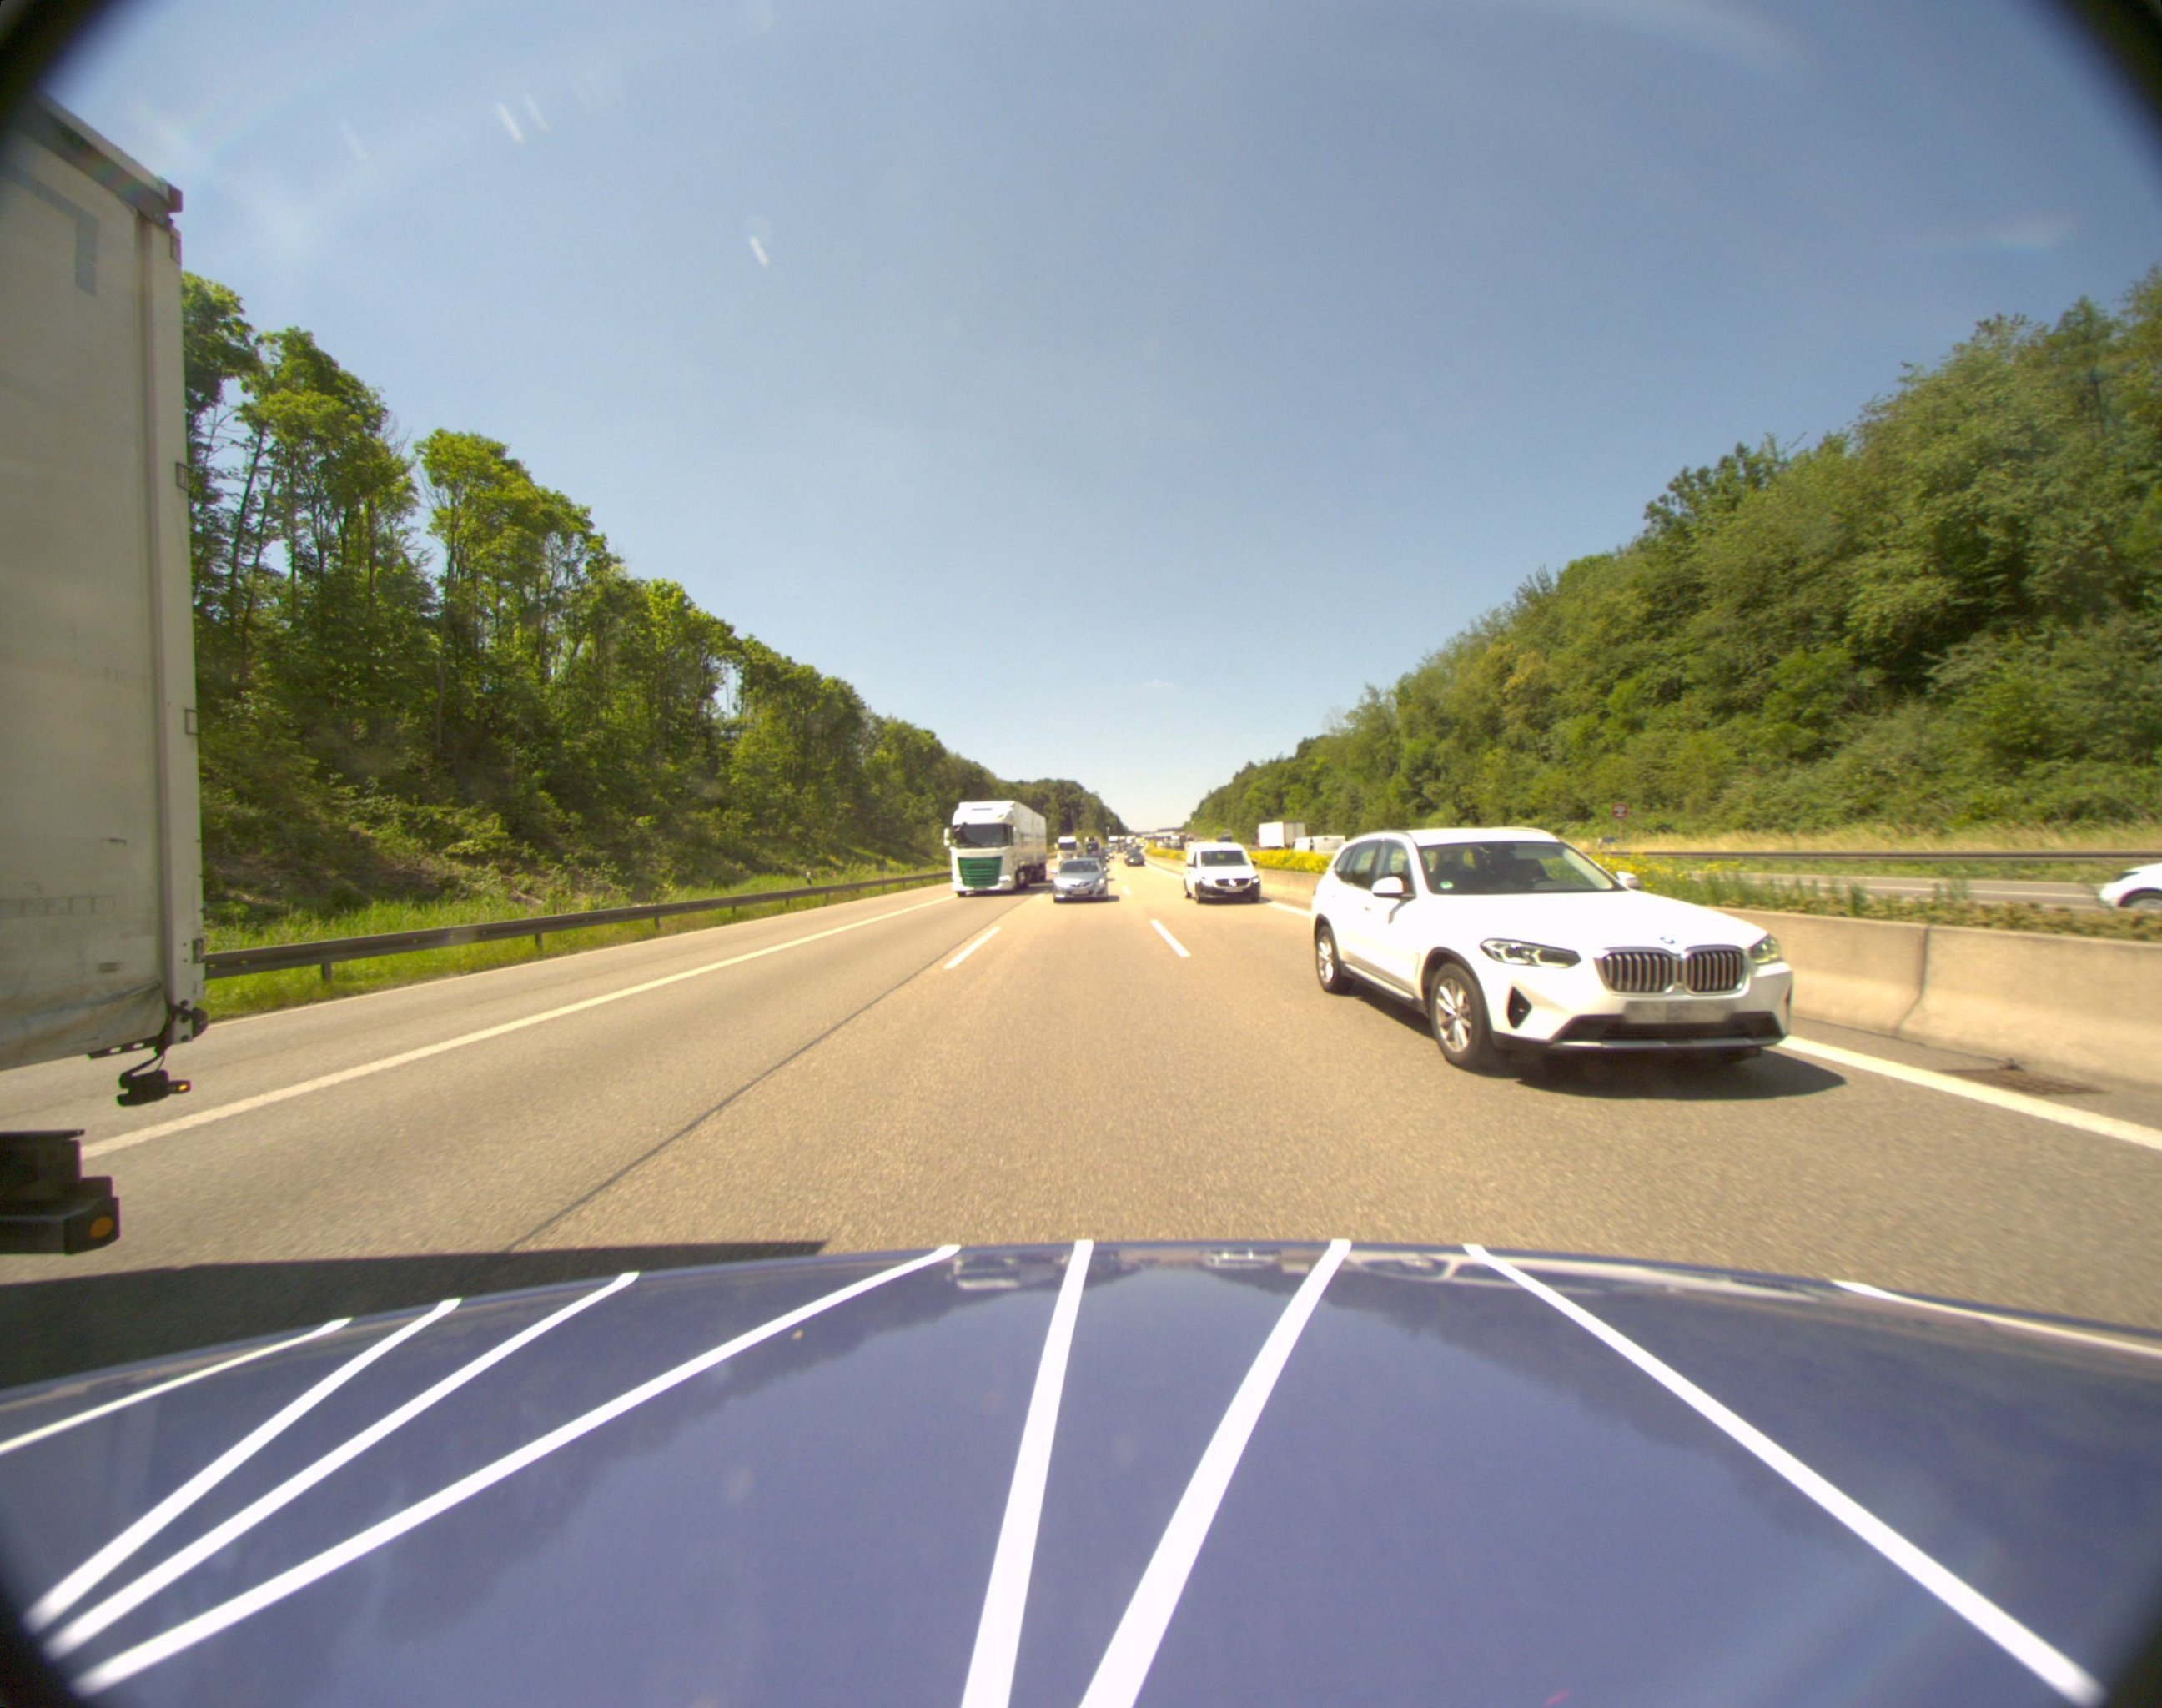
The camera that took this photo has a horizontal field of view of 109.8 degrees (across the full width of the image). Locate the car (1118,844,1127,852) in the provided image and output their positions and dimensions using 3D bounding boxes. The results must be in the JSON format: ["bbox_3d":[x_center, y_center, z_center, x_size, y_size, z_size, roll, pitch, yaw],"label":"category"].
[{"bbox_3d":[10.188,-1.488,185.440,1.998,1.728,3.999,-2,1,1],"label":"car"}]

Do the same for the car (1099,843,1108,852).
[{"bbox_3d":[5.376,-1.510,182.662,1.964,2.002,4.000,-2,0,0],"label":"car"}]

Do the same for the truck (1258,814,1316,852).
[{"bbox_3d":[25.013,-2.474,93.148,3.718,4.171,13.792,-2,1,2],"label":"truck"}]

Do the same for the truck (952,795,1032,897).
[{"bbox_3d":[-3.787,-0.357,33.817,2.542,4.006,6.624,-2,1,1],"label":"truck"}]

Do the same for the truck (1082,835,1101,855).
[{"bbox_3d":[2.044,-1.756,145.935,3.558,3.695,7.550,-2,1,1],"label":"truck"}]

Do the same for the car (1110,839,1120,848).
[{"bbox_3d":[10.569,-3.318,234.945,2.697,2.467,6.584,-2,1,3],"label":"car"}]

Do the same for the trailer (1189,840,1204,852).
[{"bbox_3d":[20.012,-1.471,132.197,1.998,2.002,4.000,-2,1,1],"label":"trailer"}]

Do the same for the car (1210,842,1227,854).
[{"bbox_3d":[17.513,-0.758,96.951,1.602,1.375,3.359,-2,1,1],"label":"car"}]

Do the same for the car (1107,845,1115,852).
[{"bbox_3d":[7.917,-1.430,202.608,1.998,1.728,4.000,-2,1,3],"label":"car"}]

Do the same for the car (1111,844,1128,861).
[{"bbox_3d":[4.734,-0.188,92.922,1.998,2.002,4.000,-2,1,3],"label":"car"}]

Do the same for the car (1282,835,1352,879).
[{"bbox_3d":[11.640,0.105,37.776,1.998,2.002,4.899,-2,1,1],"label":"car"}]

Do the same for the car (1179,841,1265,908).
[{"bbox_3d":[4.239,0.566,23.530,1.769,1.802,4.674,-2,0,0],"label":"car"}]

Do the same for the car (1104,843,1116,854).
[{"bbox_3d":[5.063,-0.937,131.827,1.998,1.728,3.999,-2,1,1],"label":"car"}]

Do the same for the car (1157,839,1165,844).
[{"bbox_3d":[24.725,-3.841,234.319,2.158,1.676,4.147,-2,1,1],"label":"car"}]

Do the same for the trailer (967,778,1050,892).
[{"bbox_3d":[-3.584,-0.956,41.786,2.574,5.011,15.270,-2,1,1],"label":"trailer"}]

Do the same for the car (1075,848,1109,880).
[{"bbox_3d":[0.709,0.572,45.040,1.887,1.695,4.085,-2,0,2],"label":"car"}]

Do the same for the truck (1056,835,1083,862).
[{"bbox_3d":[-1.387,-0.727,98.612,3.263,3.337,6.862,-2,1,0],"label":"truck"}]

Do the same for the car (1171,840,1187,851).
[{"bbox_3d":[15.371,-1.336,119.365,1.922,1.658,3.999,-2,1,1],"label":"car"}]

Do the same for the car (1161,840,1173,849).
[{"bbox_3d":[17.277,-1.915,153.053,1.998,1.676,3.999,-2,1,1],"label":"car"}]

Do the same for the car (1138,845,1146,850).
[{"bbox_3d":[15.597,-1.657,194.917,1.998,1.426,4.000,-2,0,2],"label":"car"}]

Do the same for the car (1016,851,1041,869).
[{"bbox_3d":[-4.848,0.520,70.743,1.934,1.534,3.756,-2,0,0],"label":"car"}]

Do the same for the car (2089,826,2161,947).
[{"bbox_3d":[14.297,0.388,8.228,1.675,1.499,3.828,-2,0,0],"label":"car"}]

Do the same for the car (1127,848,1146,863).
[{"bbox_3d":[5.715,0.188,78.908,1.720,1.470,4.000,-2,0,2],"label":"car"}]

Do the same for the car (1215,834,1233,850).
[{"bbox_3d":[22.459,-1.952,119.672,1.998,2.416,3.999,-2,1,1],"label":"car"}]

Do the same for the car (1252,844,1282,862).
[{"bbox_3d":[15.753,-0.097,64.611,1.618,1.472,3.508,-2,0,-1],"label":"car"}]

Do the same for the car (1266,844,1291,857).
[{"bbox_3d":[21.085,-0.359,81.226,1.618,1.381,3.508,-2,0,-1],"label":"car"}]

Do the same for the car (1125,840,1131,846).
[{"bbox_3d":[14.497,-3.368,234.155,1.998,1.728,4.000,-2,1,3],"label":"car"}]

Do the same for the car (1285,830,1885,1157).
[{"bbox_3d":[3.353,0.750,6.534,1.869,1.684,4.956,-2,0,1],"label":"car"}]

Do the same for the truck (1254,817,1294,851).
[{"bbox_3d":[25.195,-2.590,99.530,3.718,4.171,6.284,-2,1,2],"label":"truck"}]

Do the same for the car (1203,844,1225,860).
[{"bbox_3d":[12.989,-0.213,74.278,1.602,1.500,3.359,-2,1,1],"label":"car"}]

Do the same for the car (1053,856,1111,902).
[{"bbox_3d":[0.042,0.839,27.532,1.887,1.458,4.248,-2,0,0],"label":"car"}]

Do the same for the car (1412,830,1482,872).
[{"bbox_3d":[18.646,-0.167,38.923,1.637,2.002,3.999,-2,1,0],"label":"car"}]

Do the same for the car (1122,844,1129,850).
[{"bbox_3d":[12.344,-1.899,210.326,1.998,1.728,4.000,-2,1,3],"label":"car"}]

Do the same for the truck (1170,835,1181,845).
[{"bbox_3d":[30.484,-4.600,245.083,2.544,3.102,7.784,-2,1,1],"label":"truck"}]
